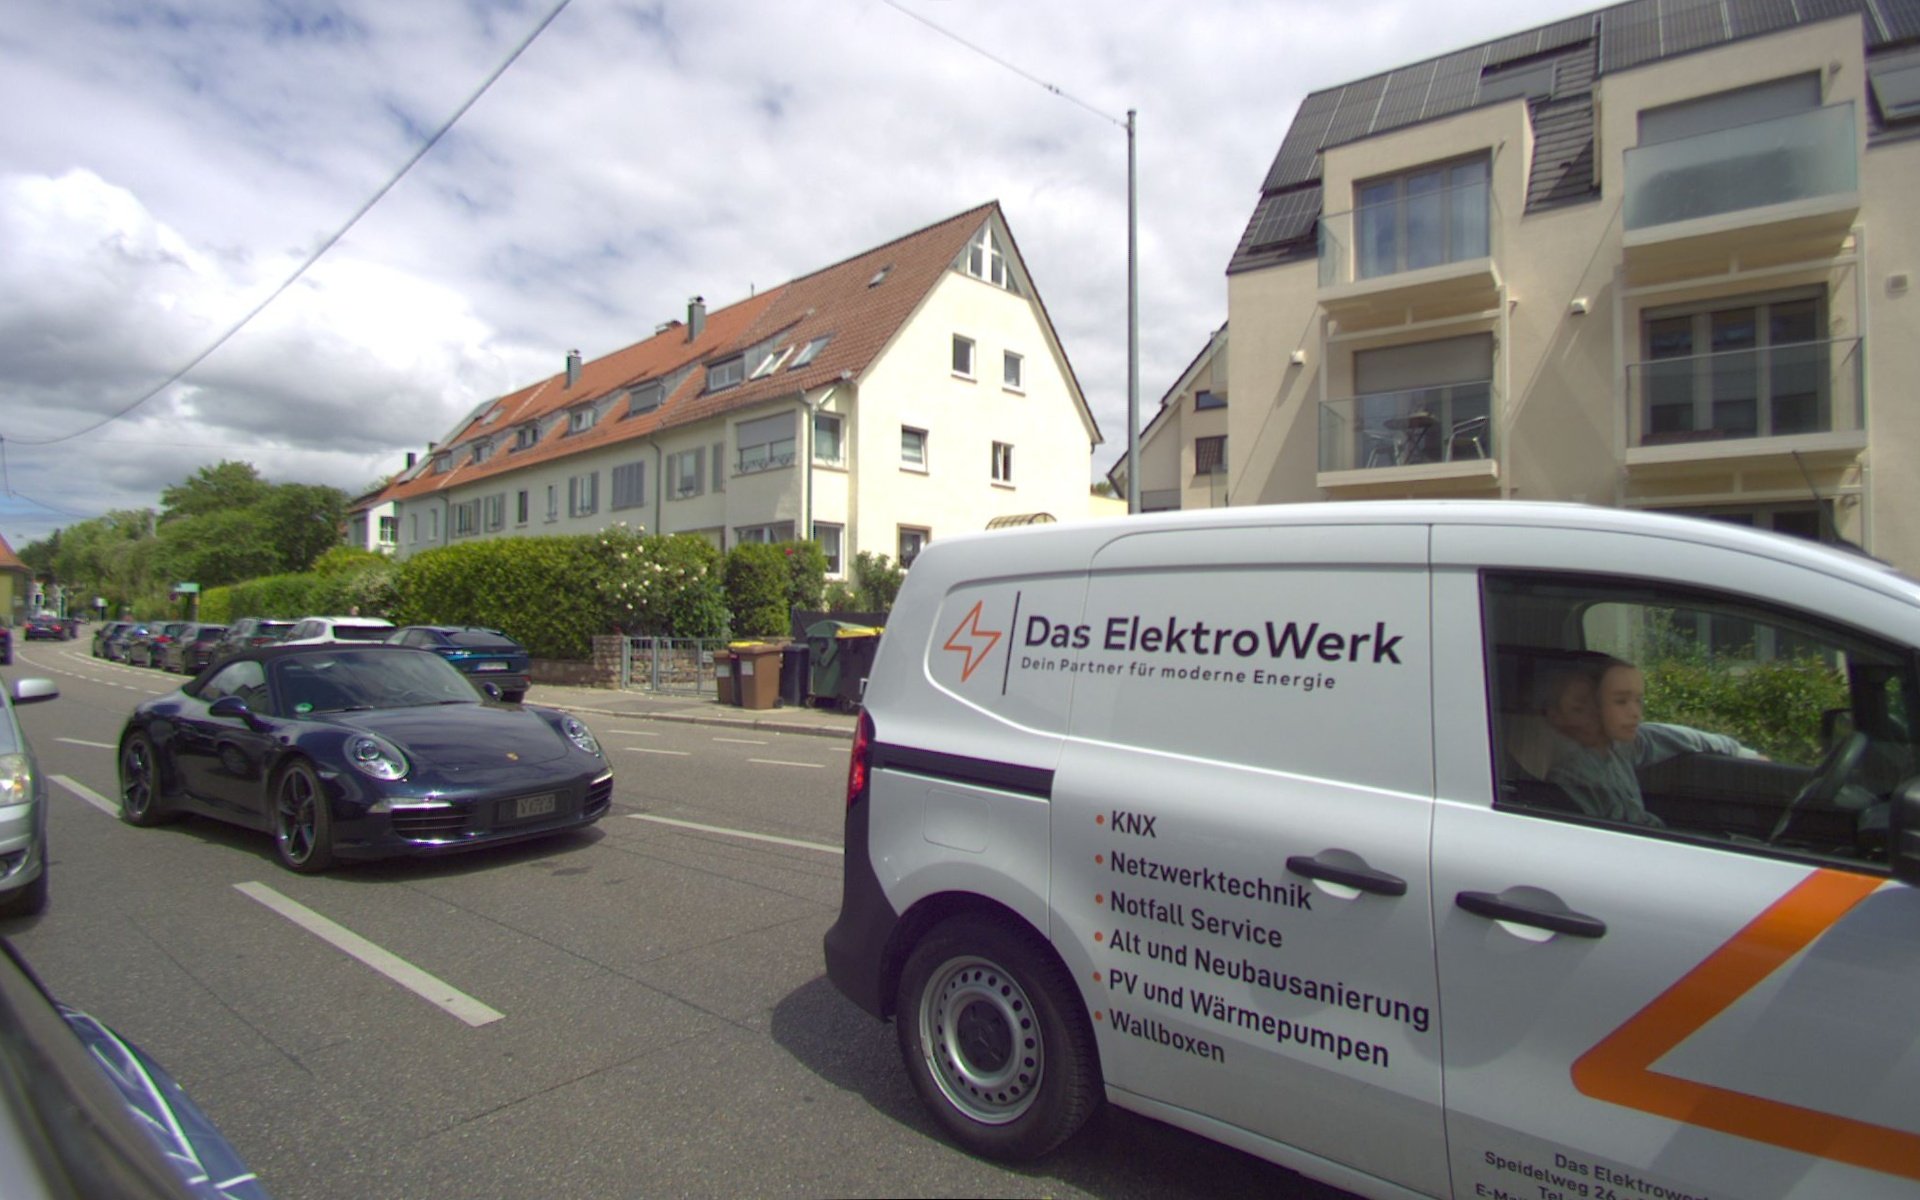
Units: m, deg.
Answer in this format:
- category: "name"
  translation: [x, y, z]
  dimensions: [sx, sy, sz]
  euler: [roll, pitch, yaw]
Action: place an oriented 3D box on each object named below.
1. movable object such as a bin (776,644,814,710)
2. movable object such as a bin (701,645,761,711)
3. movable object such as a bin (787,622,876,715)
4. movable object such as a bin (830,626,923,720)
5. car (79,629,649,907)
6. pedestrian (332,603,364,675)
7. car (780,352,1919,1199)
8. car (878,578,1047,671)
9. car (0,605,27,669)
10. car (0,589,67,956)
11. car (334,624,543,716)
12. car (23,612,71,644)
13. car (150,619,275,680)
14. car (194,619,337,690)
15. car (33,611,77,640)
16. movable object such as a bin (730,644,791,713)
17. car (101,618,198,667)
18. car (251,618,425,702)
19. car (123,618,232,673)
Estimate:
- category: "movable object such as a bin"
  translation: [-2.796, 1.294, 17.191]
  dimensions: [0.516, 1.073, 0.656]
  euler: [0, -1, 2]
- category: "movable object such as a bin"
  translation: [-3.903, 1.309, 17.230]
  dimensions: [0.752, 1.073, 0.693]
  euler: [1, -2, -42]
- category: "movable object such as a bin"
  translation: [-2.110, 1.088, 16.587]
  dimensions: [0.980, 1.457, 1.078]
  euler: [-1, -2, 41]
- category: "movable object such as a bin"
  translation: [-1.291, 1.102, 15.770]
  dimensions: [0.980, 1.373, 1.078]
  euler: [-1, -2, 41]
- category: "car"
  translation: [-4.216, 0.904, 7.004]
  dimensions: [4.032, 1.374, 1.795]
  euler: [-1, -1, 33]
- category: "pedestrian"
  translation: [-15.762, 1.008, 26.071]
  dimensions: [0.511, 1.829, 0.526]
  euler: [-1, -2, 36]
- category: "car"
  translation: [1.704, 0.555, 2.468]
  dimensions: [4.414, 1.825, 1.798]
  euler: [-1, -1, 39]
- category: "car"
  translation: [0.139, 0.576, 24.250]
  dimensions: [1.999, 2.029, 3.946]
  euler: [-1, -1, 40]
- category: "car"
  translation: [-31.051, 1.148, 32.004]
  dimensions: [4.069, 1.929, 1.972]
  euler: [-1, -2, 43]
- category: "car"
  translation: [-6.087, 0.761, 5.181]
  dimensions: [3.999, 1.587, 1.751]
  euler: [-1, -1, 41]
- category: "car"
  translation: [-9.819, 1.208, 18.919]
  dimensions: [4.447, 1.513, 1.796]
  euler: [-1, -1, 38]
- category: "car"
  translation: [-57.003, 1.719, 63.254]
  dimensions: [1.968, 1.929, 4.077]
  euler: [1, -1, -38]
- category: "car"
  translation: [-21.626, 1.391, 29.237]
  dimensions: [4.234, 1.645, 1.973]
  euler: [-1, -3, 41]
- category: "car"
  translation: [-17.639, 1.299, 25.629]
  dimensions: [4.234, 1.645, 1.973]
  euler: [-1, -2, 41]
- category: "car"
  translation: [-61.686, 1.725, 69.058]
  dimensions: [1.968, 1.929, 4.077]
  euler: [1, -1, -38]
- category: "movable object such as a bin"
  translation: [-3.305, 1.283, 16.782]
  dimensions: [0.752, 1.073, 0.693]
  euler: [1, -2, -42]
- category: "car"
  translation: [-29.304, 1.492, 36.544]
  dimensions: [4.234, 1.645, 1.973]
  euler: [-1, -2, 41]
- category: "car"
  translation: [-13.666, 1.219, 22.139]
  dimensions: [4.451, 1.645, 1.973]
  euler: [-1, -2, 41]
- category: "car"
  translation: [-25.389, 1.423, 32.793]
  dimensions: [4.234, 1.645, 1.973]
  euler: [-1, -2, 41]
